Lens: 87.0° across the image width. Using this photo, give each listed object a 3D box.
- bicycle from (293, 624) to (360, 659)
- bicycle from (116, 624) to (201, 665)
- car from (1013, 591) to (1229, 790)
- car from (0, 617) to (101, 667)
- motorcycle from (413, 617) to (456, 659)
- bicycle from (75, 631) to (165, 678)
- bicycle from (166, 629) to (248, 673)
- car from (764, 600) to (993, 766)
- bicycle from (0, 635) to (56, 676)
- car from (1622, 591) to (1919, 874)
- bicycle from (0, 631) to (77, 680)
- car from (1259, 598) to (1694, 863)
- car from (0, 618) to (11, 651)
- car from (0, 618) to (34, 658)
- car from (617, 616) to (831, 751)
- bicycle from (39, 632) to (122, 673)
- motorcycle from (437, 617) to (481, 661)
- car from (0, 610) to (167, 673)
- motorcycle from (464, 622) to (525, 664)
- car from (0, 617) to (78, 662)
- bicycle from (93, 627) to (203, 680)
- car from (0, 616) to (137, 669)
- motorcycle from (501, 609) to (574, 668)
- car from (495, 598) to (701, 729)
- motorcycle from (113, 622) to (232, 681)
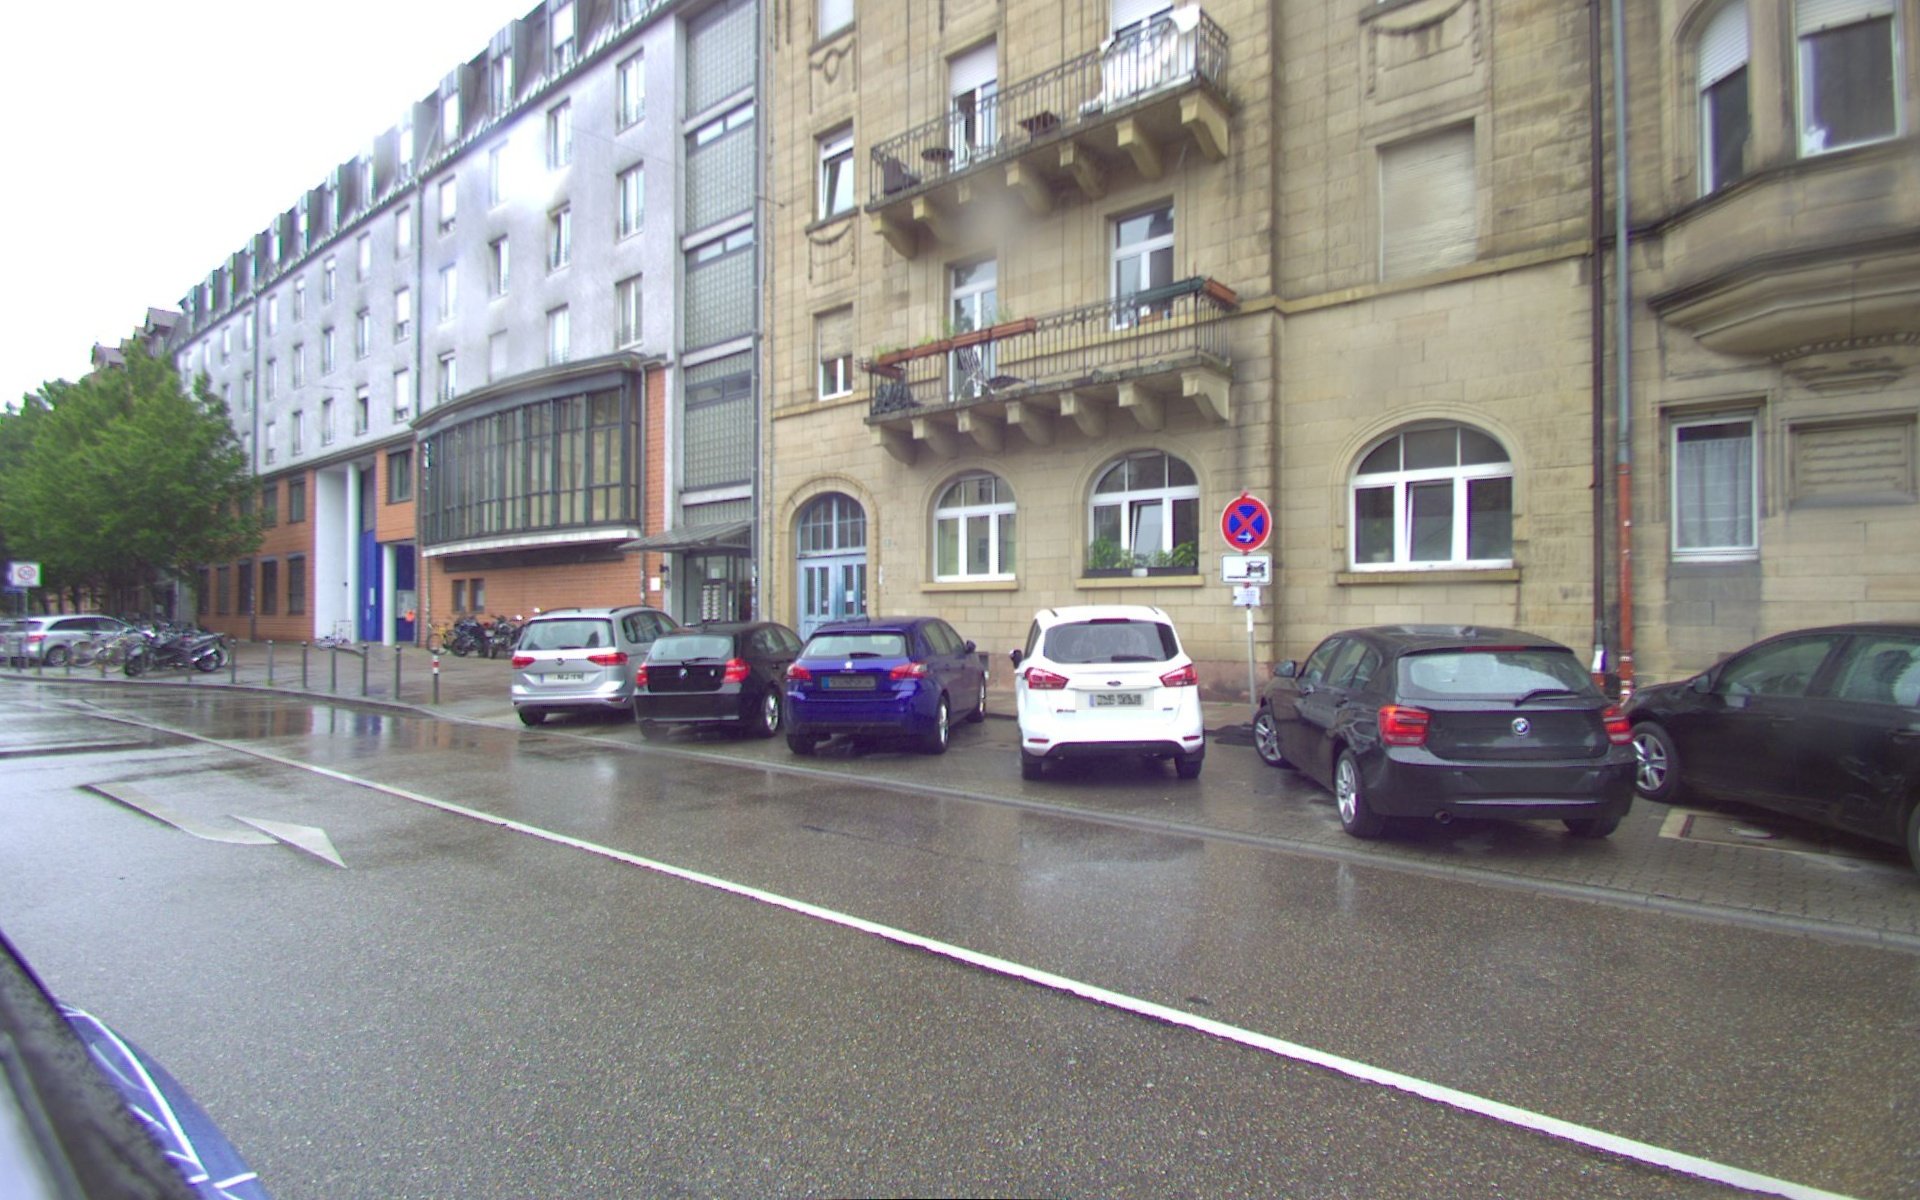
[{"bbox_3d":[-22.654,1.486,36.233,1.873,1.234,0.939,1,-2,-23],"label":"bicycle"},{"bbox_3d":[-21.403,1.183,27.045,0.544,1.081,1.667,-1,-2,38],"label":"bicycle"},{"bbox_3d":[1.451,0.763,10.404,1.755,1.639,3.724,-1,0,3],"label":"car"},{"bbox_3d":[-33.524,1.485,36.231,1.993,1.728,3.762,-1,-2,30],"label":"car"},{"bbox_3d":[-15.879,1.131,30.569,1.676,1.238,0.539,-1,-2,41],"label":"motorcycle"},{"bbox_3d":[-21.425,1.371,25.837,0.544,1.081,1.667,-1,1,38],"label":"bicycle"},{"bbox_3d":[-20.233,1.353,27.230,0.544,1.081,1.667,-1,1,38],"label":"bicycle"},{"bbox_3d":[-0.789,0.832,12.110,1.881,1.539,3.716,0,2,10],"label":"car"},{"bbox_3d":[-25.980,1.518,27.741,0.544,1.081,1.667,-1,-4,38],"label":"bicycle"},{"bbox_3d":[6.164,0.734,6.296,1.606,1.555,3.758,-1,0,1],"label":"car"},{"bbox_3d":[-23.567,1.394,25.644,0.544,1.080,1.668,-1,3,38],"label":"bicycle"},{"bbox_3d":[3.630,0.791,7.934,1.757,1.555,3.721,-1,0,6],"label":"car"},{"bbox_3d":[-52.183,1.770,52.609,1.899,1.728,3.762,-1,-2,30],"label":"car"},{"bbox_3d":[-43.490,1.664,44.400,1.993,1.728,3.762,-1,-2,30],"label":"car"},{"bbox_3d":[-2.980,1.020,13.591,1.697,1.539,3.721,0,-2,6],"label":"car"},{"bbox_3d":[-24.416,1.449,28.124,0.544,1.081,1.667,-1,-1,38],"label":"bicycle"},{"bbox_3d":[-14.559,1.121,29.396,1.676,1.238,0.539,-1,-2,41],"label":"motorcycle"},{"bbox_3d":[-27.396,1.256,31.423,1.981,1.828,3.981,0,-2,14],"label":"car"},{"bbox_3d":[-12.880,1.175,27.953,2.361,1.110,0.591,-1,-2,41],"label":"motorcycle"},{"bbox_3d":[-37.654,1.561,39.994,1.993,1.728,3.762,-1,-2,30],"label":"car"},{"bbox_3d":[-20.441,1.315,25.513,0.772,1.181,2.024,-1,1,38],"label":"bicycle"},{"bbox_3d":[-30.872,1.428,34.607,1.993,1.728,3.762,-1,-2,30],"label":"car"},{"bbox_3d":[-10.943,0.976,26.182,2.361,1.474,0.767,-1,-2,41],"label":"motorcycle"},{"bbox_3d":[-5.358,0.915,15.553,1.791,1.743,3.923,0,-2,-1],"label":"car"},{"bbox_3d":[-19.511,1.250,25.115,0.758,1.320,2.226,-1,0,41],"label":"motorcycle"}]
